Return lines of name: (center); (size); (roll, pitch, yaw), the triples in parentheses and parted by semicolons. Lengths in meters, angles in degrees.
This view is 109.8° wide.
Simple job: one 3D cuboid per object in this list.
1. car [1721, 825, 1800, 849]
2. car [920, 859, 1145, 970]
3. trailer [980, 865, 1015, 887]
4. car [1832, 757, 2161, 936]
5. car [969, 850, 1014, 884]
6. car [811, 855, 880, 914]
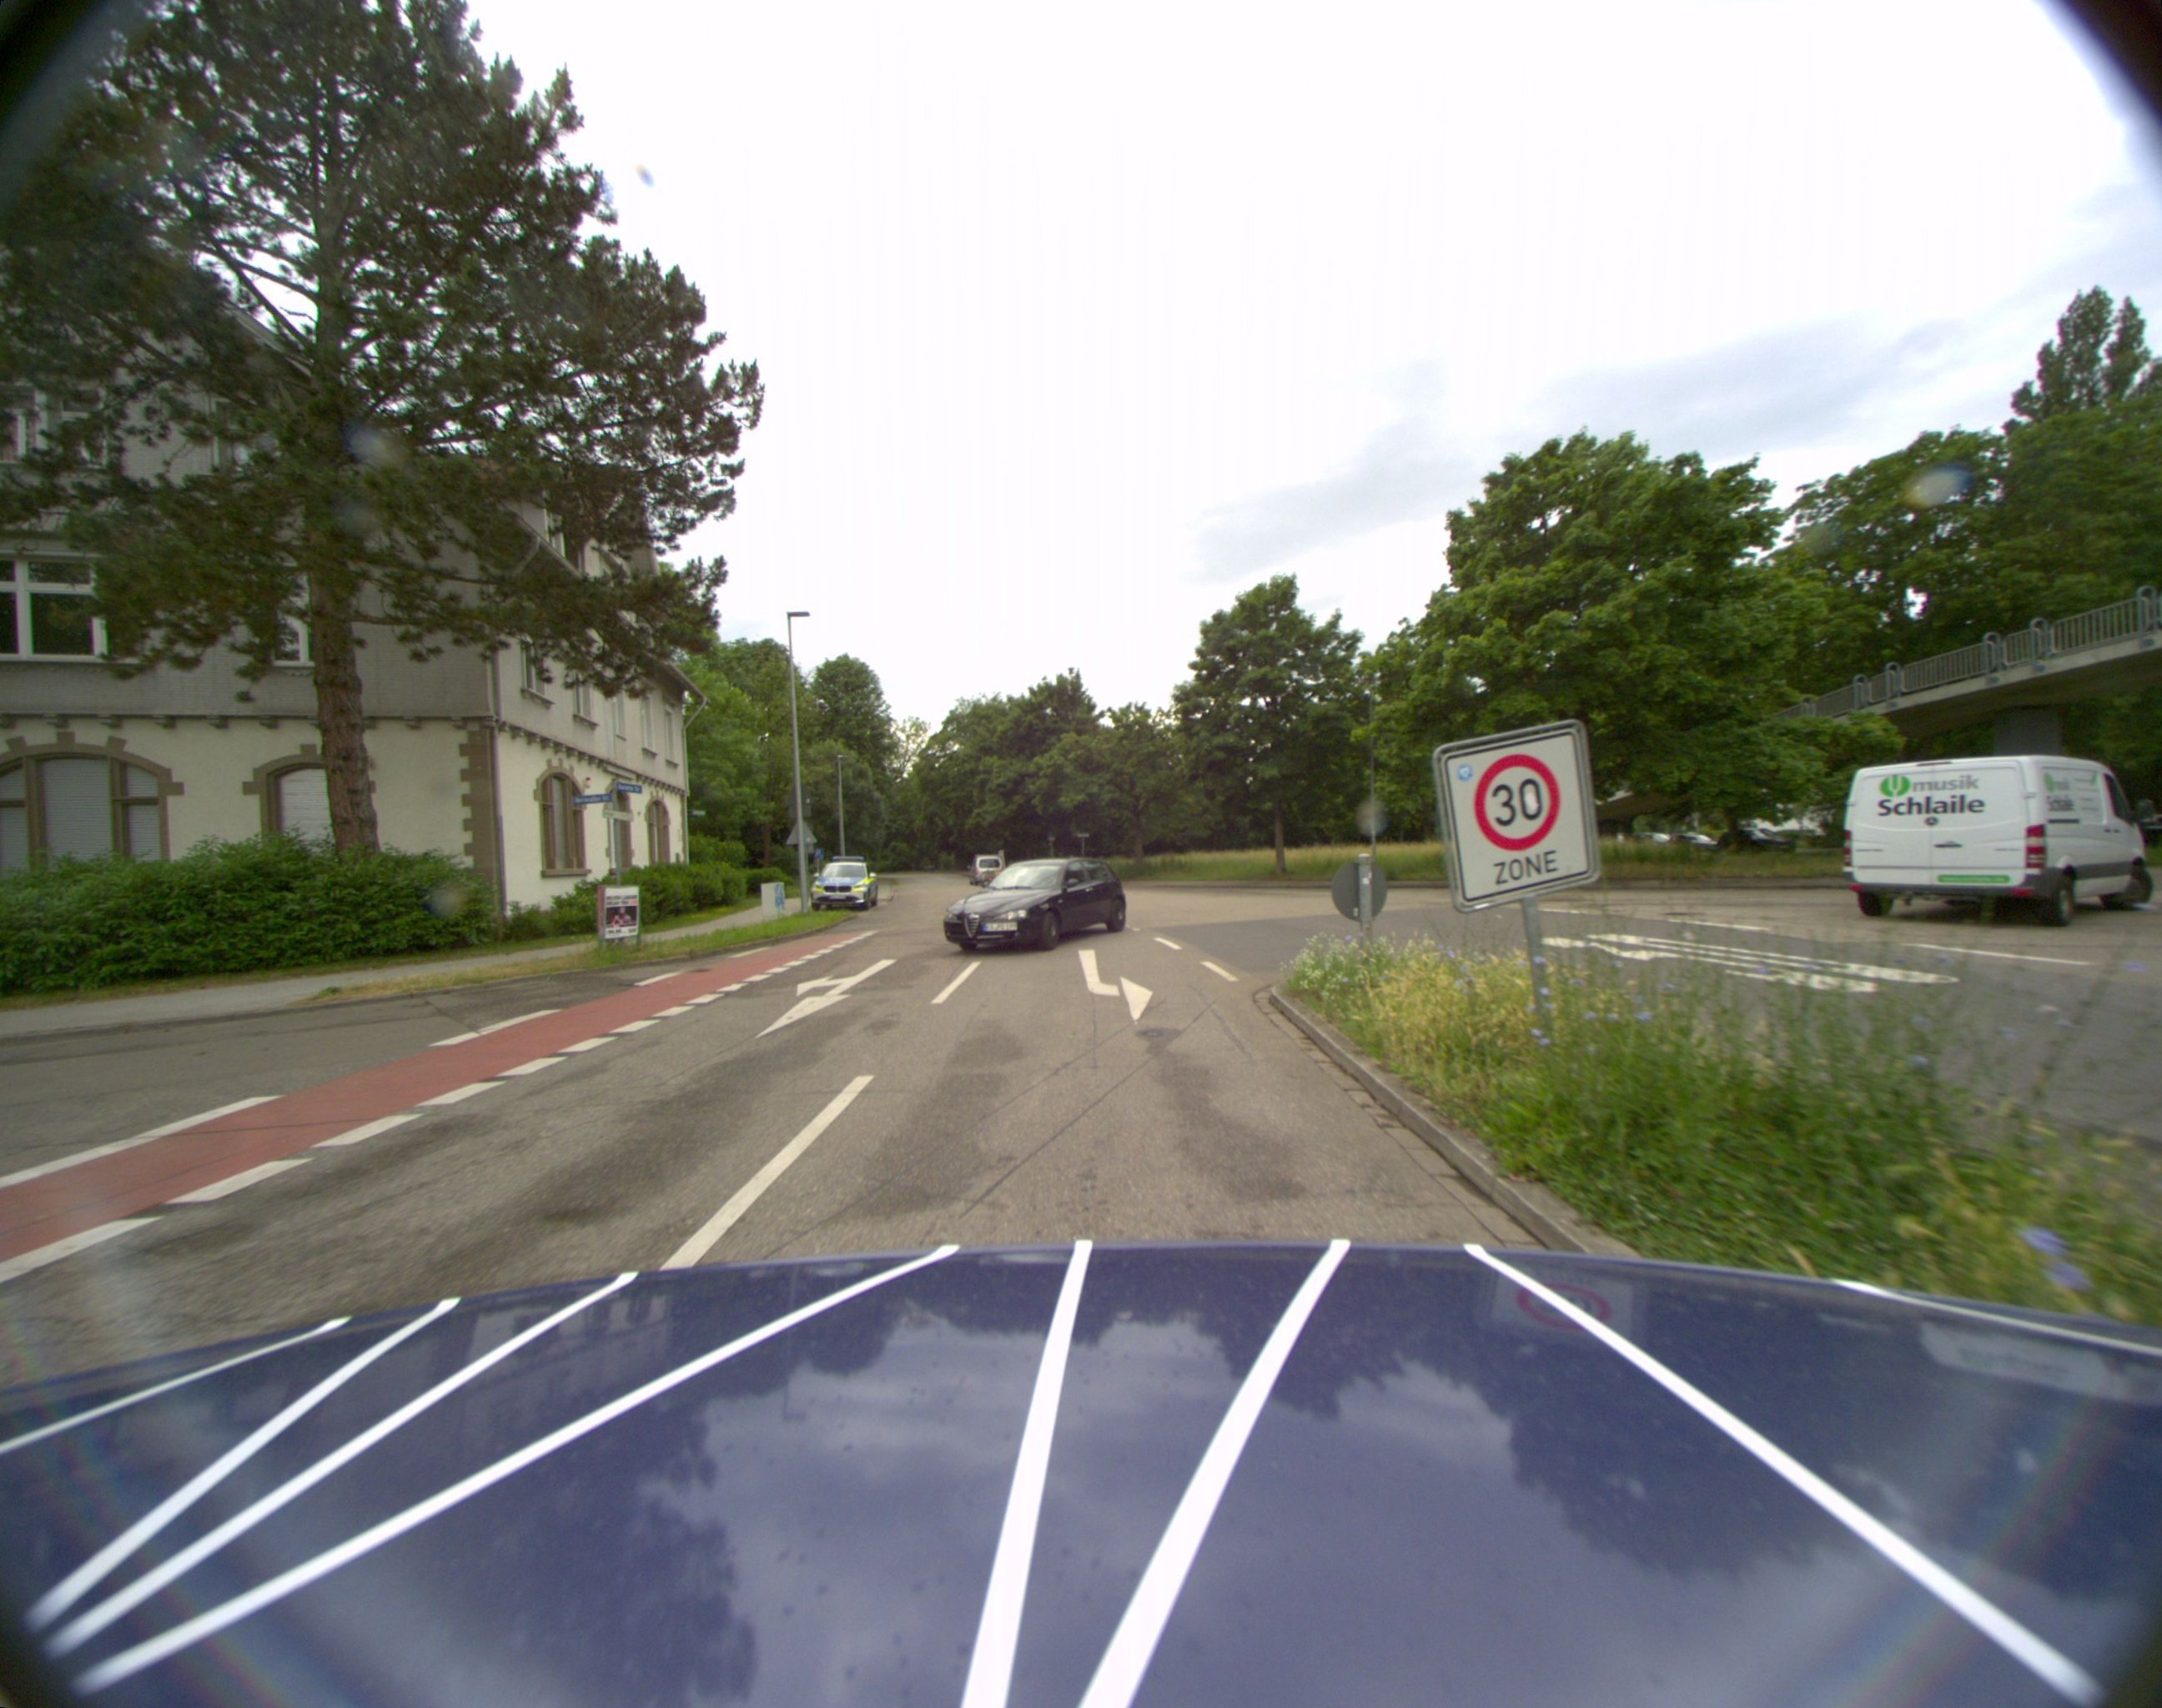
car: (41.006, -1.000, 45.967); (1.692, 1.343, 4.002); (-2, 1, 9)
car: (-0.599, 0.915, 13.290); (1.799, 1.449, 4.548); (-2, 1, 27)
trailer: (-4.747, 1.220, 42.934); (1.572, 0.980, 3.460); (-3, 2, -12)
car: (14.231, -0.209, 11.766); (5.214, 2.279, 2.136); (-3, 1, -27)
car: (-5.549, 0.752, 46.672); (2.096, 1.847, 4.216); (-4, 1, -14)
car: (-8.026, 0.968, 26.178); (1.937, 1.839, 3.995); (0, 0, -13)
